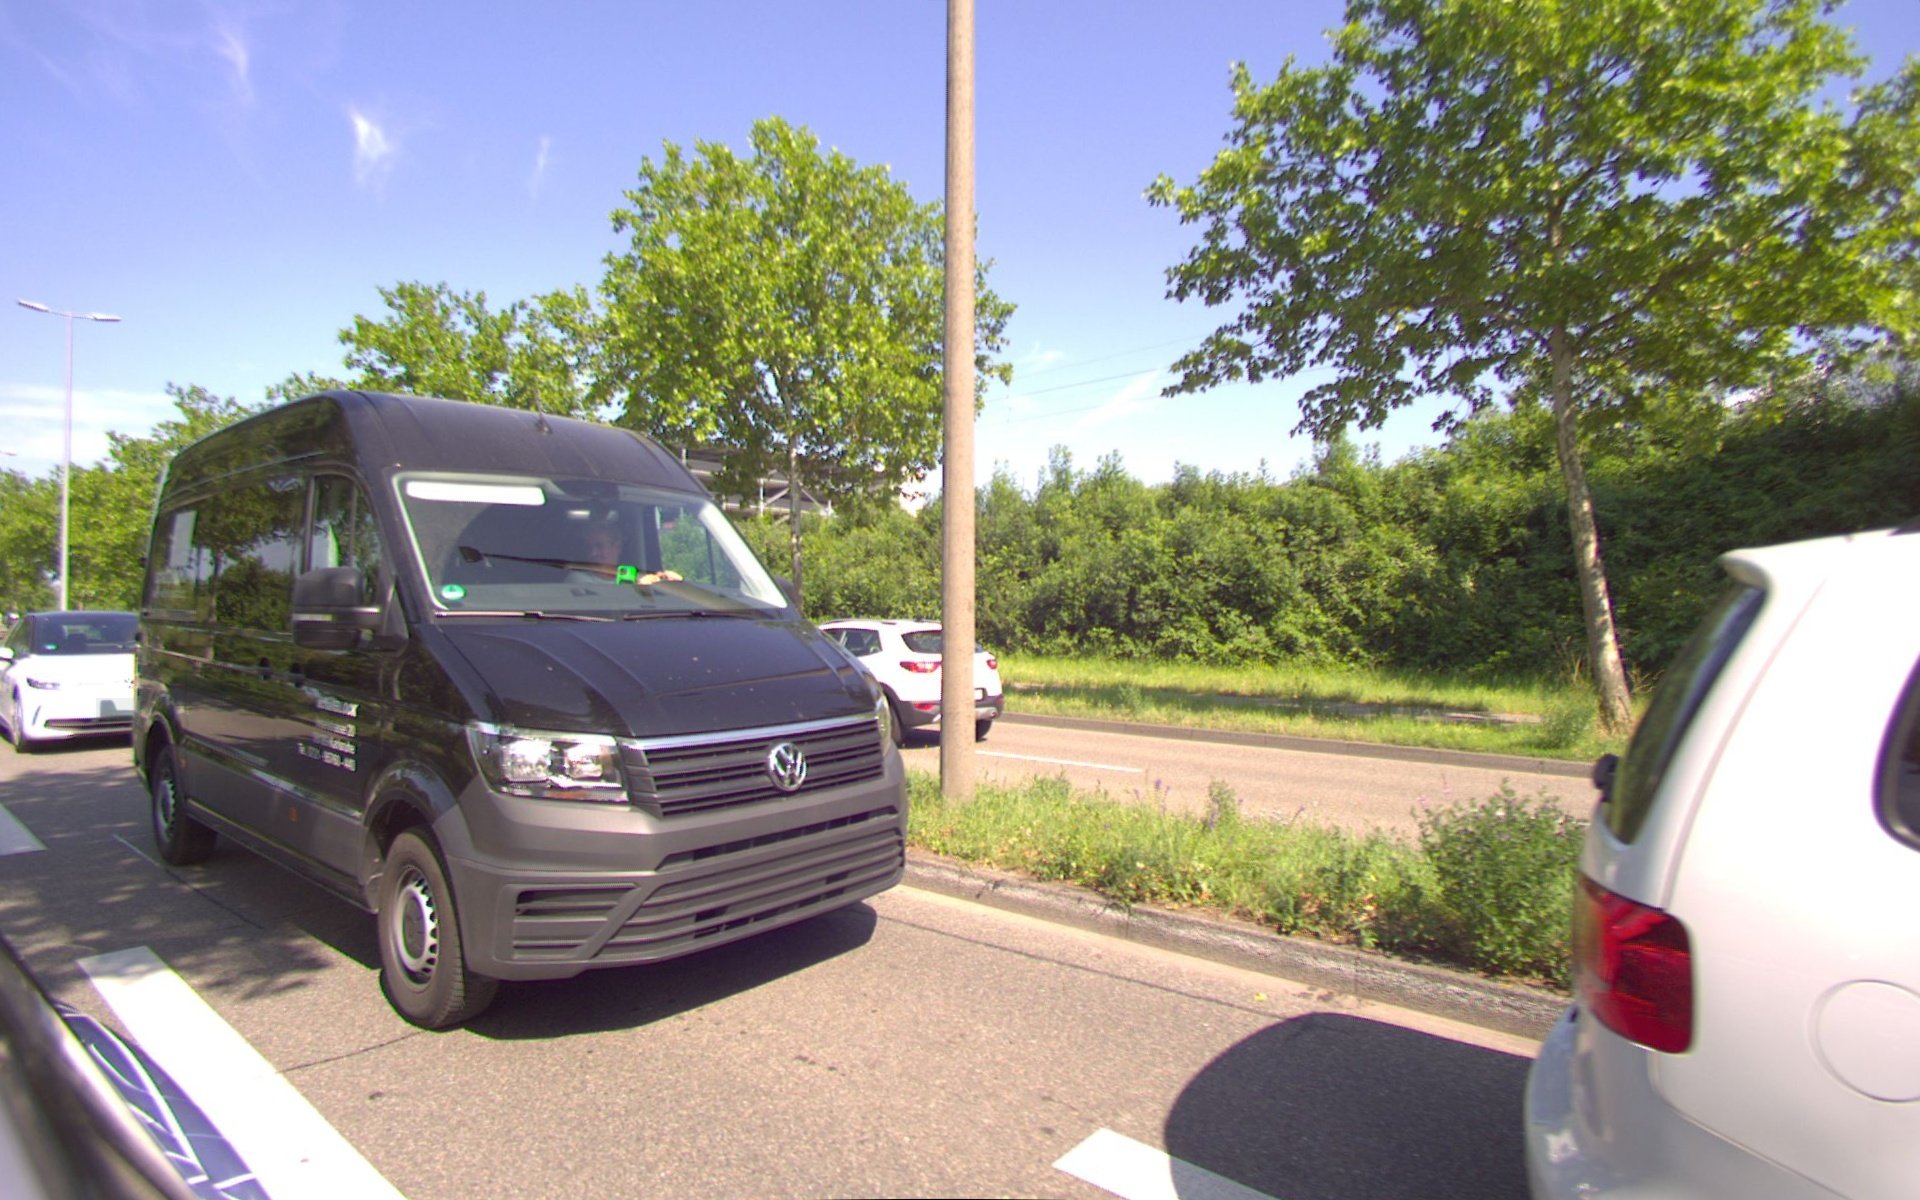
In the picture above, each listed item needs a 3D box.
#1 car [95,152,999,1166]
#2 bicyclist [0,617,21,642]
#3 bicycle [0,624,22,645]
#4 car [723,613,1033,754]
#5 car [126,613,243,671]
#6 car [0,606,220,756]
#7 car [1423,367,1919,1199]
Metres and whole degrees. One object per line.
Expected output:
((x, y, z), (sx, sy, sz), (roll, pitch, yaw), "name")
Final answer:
((-2.798, 0.179, 5.432), (6.166, 2.627, 1.994), (-1, -1, 42), "car")
((-48.728, 1.516, 51.892), (1.101, 1.200, 0.720), (-3, -2, 41), "bicyclist")
((-48.805, 1.764, 51.949), (2.216, 1.037, 0.720), (-3, -1, 41), "bicycle")
((-1.157, 0.953, 12.949), (4.000, 1.523, 1.713), (-1, -2, 43), "car")
((-22.882, 1.190, 29.814), (4.171, 1.595, 1.835), (-1, -1, 40), "car")
((-10.739, 0.868, 12.435), (4.206, 1.533, 1.800), (-1, -1, 41), "car")
((2.915, 0.545, 0.769), (4.351, 1.660, 1.752), (-1, -1, 42), "car")
